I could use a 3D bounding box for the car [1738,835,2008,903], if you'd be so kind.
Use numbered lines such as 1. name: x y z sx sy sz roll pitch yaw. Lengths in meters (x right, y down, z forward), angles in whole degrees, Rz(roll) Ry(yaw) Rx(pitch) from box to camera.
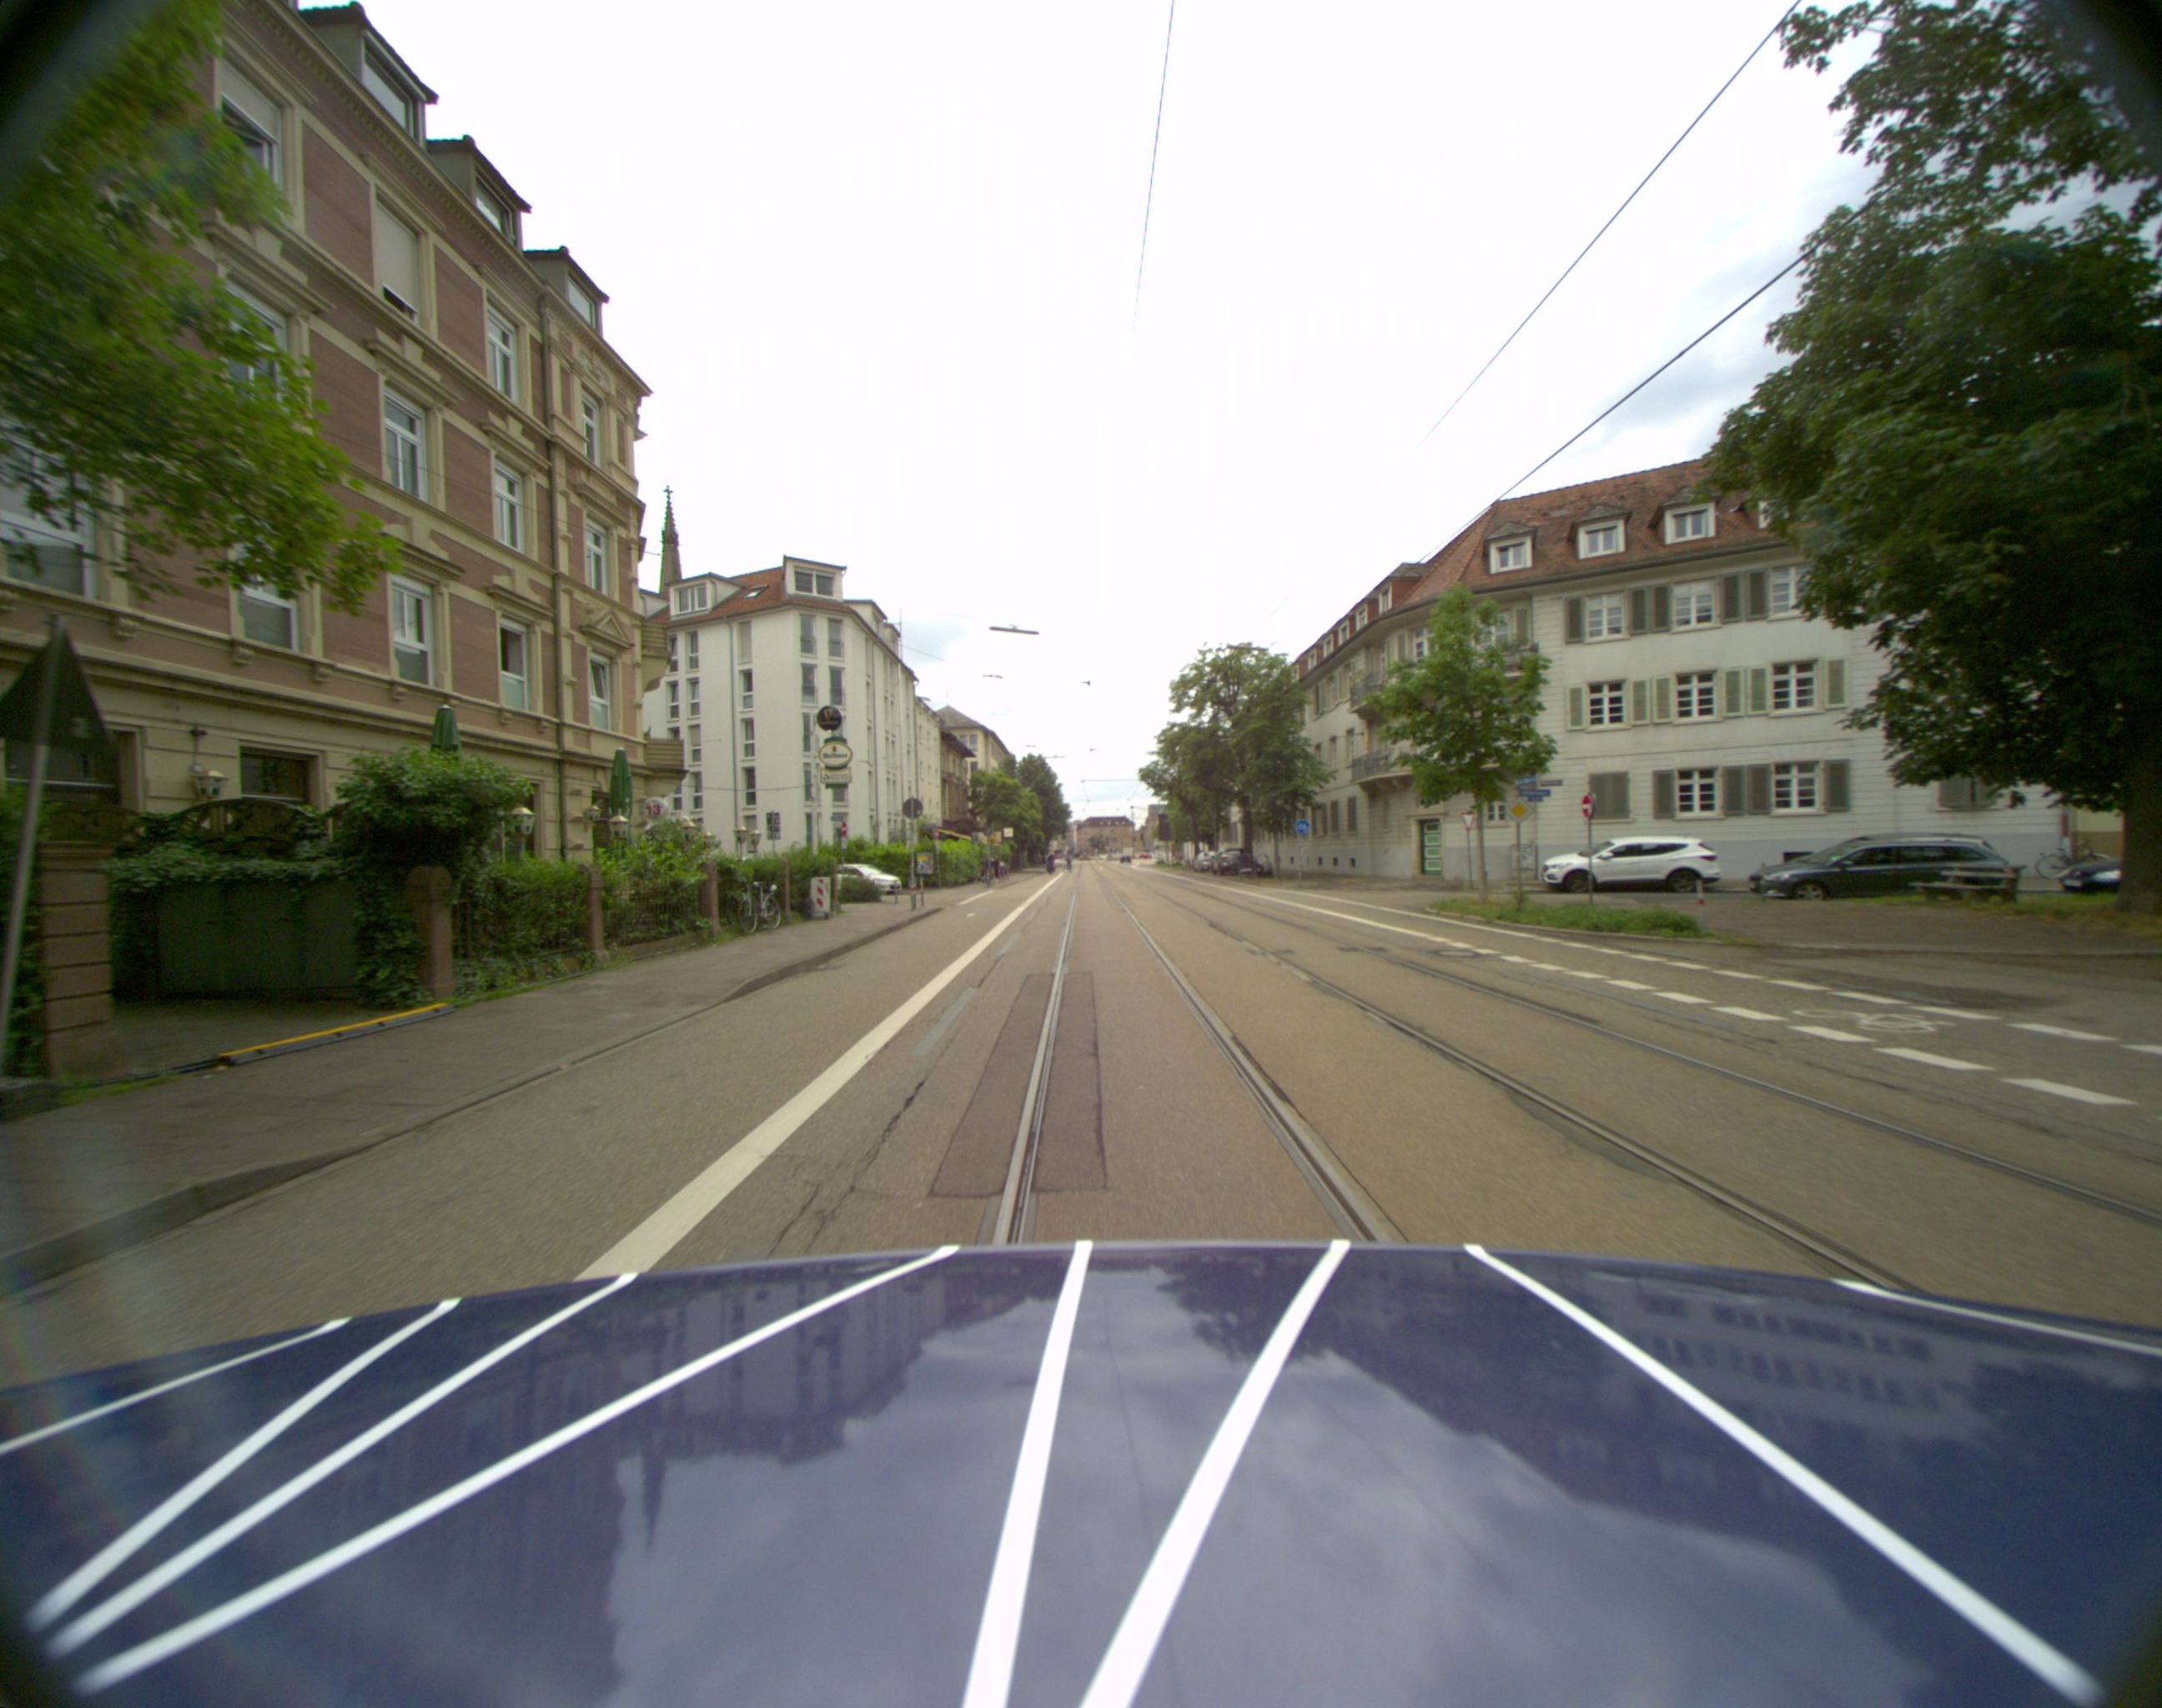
1. car: 18.359 0.365 17.900 4.060 1.402 1.665 -2 1 29

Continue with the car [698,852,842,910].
1. car: -11.260 0.905 27.982 2.054 1.867 5.035 -1 0 19

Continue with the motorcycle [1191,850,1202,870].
1. motorcycle: 9.496 0.460 62.700 0.834 1.633 2.481 -2 0 8

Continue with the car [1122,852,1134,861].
1. car: 7.591 0.385 122.554 1.733 1.400 3.655 -2 0 0

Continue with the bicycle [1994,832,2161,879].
1. bicycle: 28.783 0.052 21.855 3.119 1.223 0.884 -2 3 27

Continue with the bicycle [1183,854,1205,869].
1. bicycle: 9.609 0.646 64.768 1.744 1.122 0.518 -4 0 18

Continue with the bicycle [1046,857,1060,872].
1. bicycle: -2.400 0.925 65.053 0.853 1.234 2.311 -2 -1 5

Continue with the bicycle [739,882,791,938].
1. bicycle: -6.676 1.147 16.142 0.302 1.035 1.848 -2 1 0

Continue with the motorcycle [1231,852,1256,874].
1. motorcycle: 9.305 0.510 43.525 1.288 1.215 0.548 -3 1 7

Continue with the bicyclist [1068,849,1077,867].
1. bicyclist: -0.756 0.380 70.600 0.776 1.681 0.869 -2 1 1

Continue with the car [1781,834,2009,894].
1. car: 22.824 0.291 21.533 4.038 1.504 1.741 -2 1 27

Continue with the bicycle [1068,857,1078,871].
1. bicycle: -0.741 0.914 70.694 0.776 1.205 1.869 -2 0 1

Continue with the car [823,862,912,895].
1. car: -10.050 1.170 35.782 3.812 1.422 1.674 -2 0 23

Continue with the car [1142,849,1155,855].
1. car: 15.887 -0.480 178.798 1.757 1.490 4.007 0 1 28

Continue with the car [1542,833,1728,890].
1. car: 17.588 0.250 24.424 4.505 1.653 1.942 -2 0 25

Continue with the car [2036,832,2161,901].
1. car: 22.999 0.216 15.525 4.000 1.338 1.668 -2 0 26

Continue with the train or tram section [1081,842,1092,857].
1. train or tram section: 1.429 -1.242 195.042 2.631 3.659 5.984 -2 0 -2

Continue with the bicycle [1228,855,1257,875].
1. bicycle: 9.052 0.596 42.601 1.379 0.999 0.930 -5 0 5

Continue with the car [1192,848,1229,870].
1. car: 9.318 0.333 54.973 1.816 1.457 4.613 -3 0 0

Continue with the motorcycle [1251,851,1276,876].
1. motorcycle: 9.478 0.490 39.487 0.541 1.250 2.141 -2 1 -6

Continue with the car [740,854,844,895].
1. car: -14.398 1.011 37.812 4.734 1.927 1.980 -2 -1 22

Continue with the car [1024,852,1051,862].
1. car: -7.680 0.489 133.085 4.330 1.542 1.747 -2 0 -22

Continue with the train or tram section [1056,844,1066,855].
1. train or tram section: -5.975 -1.300 225.417 2.610 2.936 4.965 -2 0 -2

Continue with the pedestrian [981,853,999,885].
1. pedestrian: -4.835 0.781 40.510 0.875 1.646 0.908 -2 1 -8

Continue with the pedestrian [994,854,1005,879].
1. pedestrian: -5.459 0.856 50.972 0.625 1.661 0.959 1 0 0

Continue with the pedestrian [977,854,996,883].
1. pedestrian: -5.379 0.836 43.452 0.794 1.627 0.837 0 2 16

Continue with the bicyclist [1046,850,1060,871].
1. bicyclist: -2.400 0.577 65.218 0.881 1.811 1.479 -2 -1 5

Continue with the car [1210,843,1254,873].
1. car: 9.249 0.238 46.851 1.842 1.651 4.293 -4 0 1

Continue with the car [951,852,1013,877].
1. car: -7.341 0.751 56.512 4.290 1.798 1.824 -1 0 2
